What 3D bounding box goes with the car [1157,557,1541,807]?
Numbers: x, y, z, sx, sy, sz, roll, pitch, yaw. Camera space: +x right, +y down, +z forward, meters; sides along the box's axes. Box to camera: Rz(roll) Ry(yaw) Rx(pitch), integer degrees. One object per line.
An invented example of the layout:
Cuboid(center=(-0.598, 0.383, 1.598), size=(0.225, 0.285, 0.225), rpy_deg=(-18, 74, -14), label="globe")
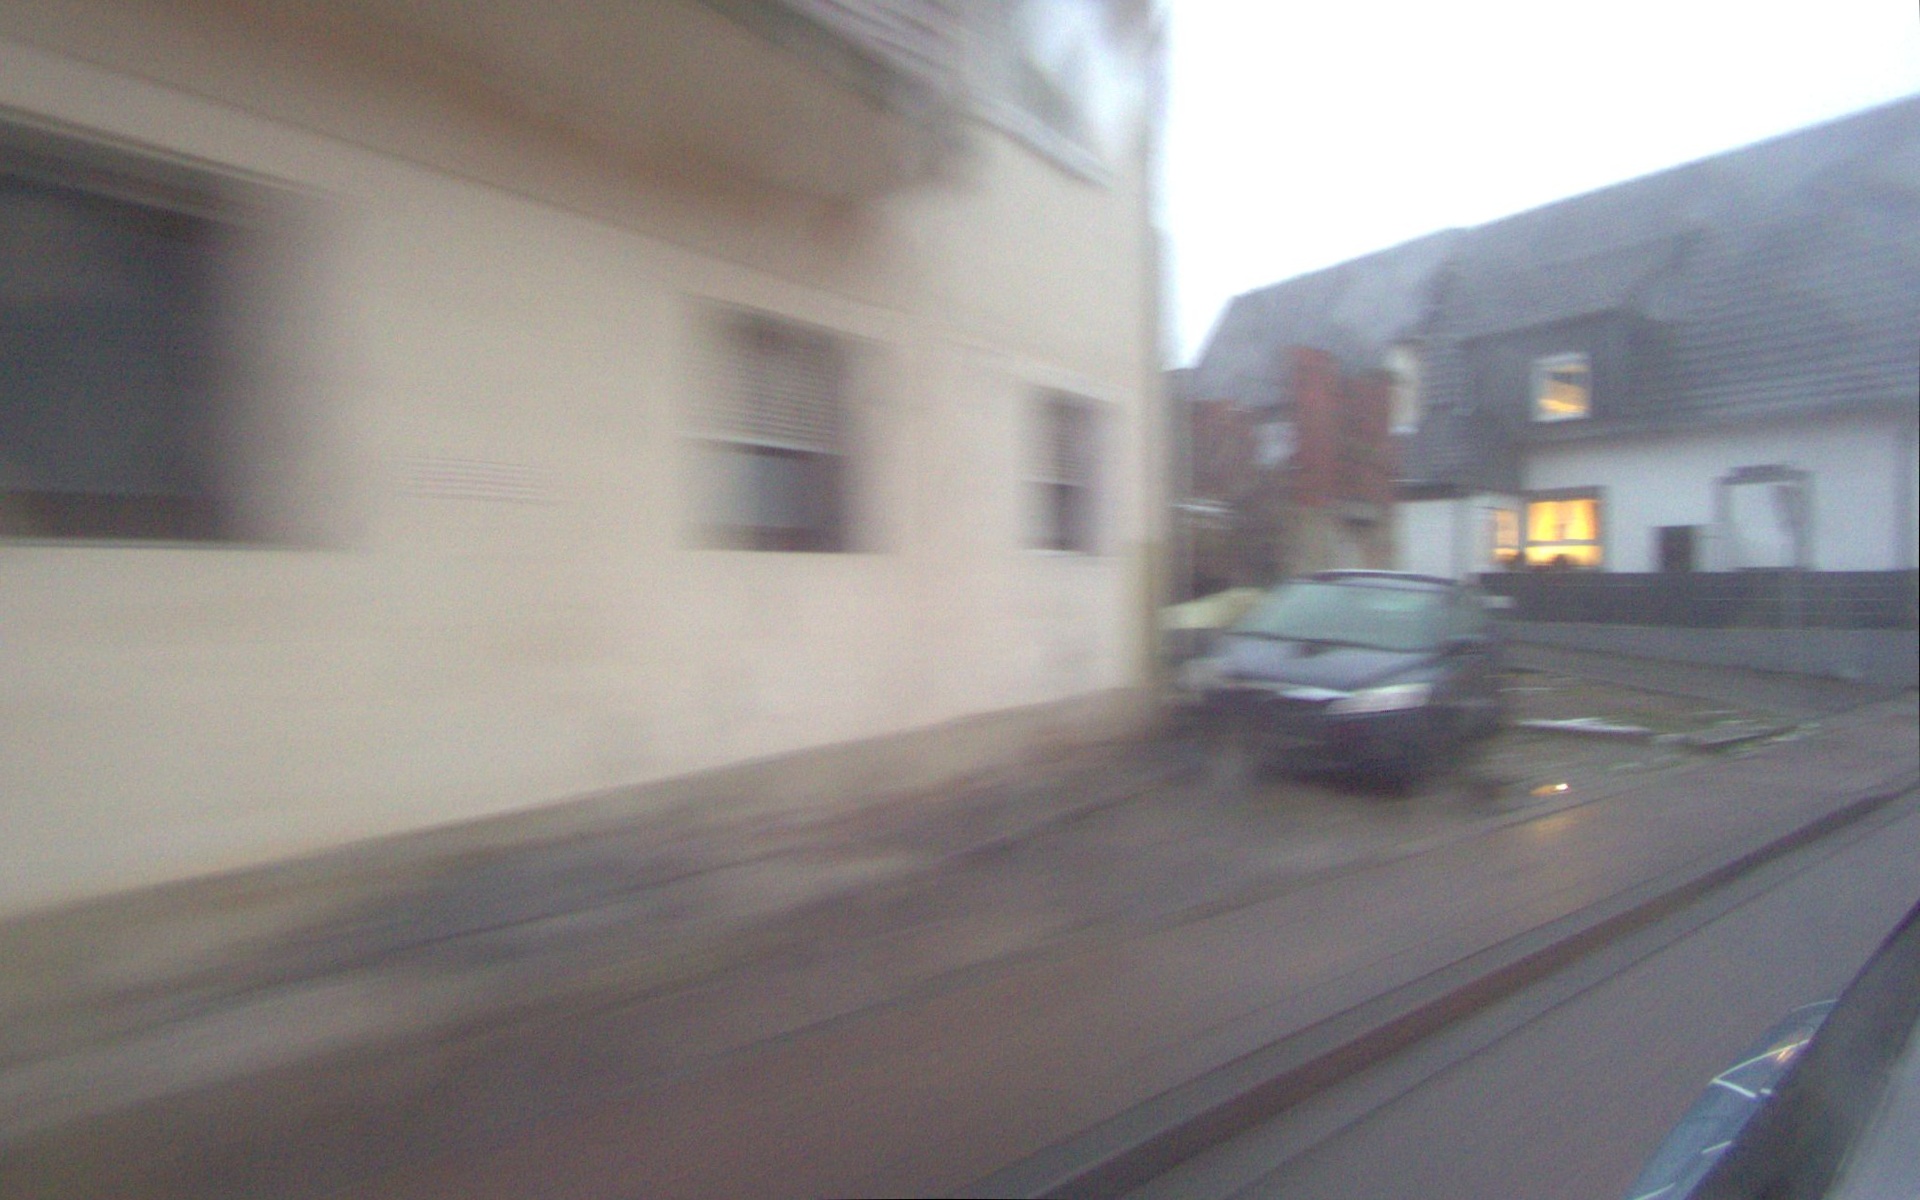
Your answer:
Cuboid(center=(3.445, 0.413, 8.435), size=(1.804, 1.505, 4.220), rpy_deg=(3, 4, 38), label="car")
